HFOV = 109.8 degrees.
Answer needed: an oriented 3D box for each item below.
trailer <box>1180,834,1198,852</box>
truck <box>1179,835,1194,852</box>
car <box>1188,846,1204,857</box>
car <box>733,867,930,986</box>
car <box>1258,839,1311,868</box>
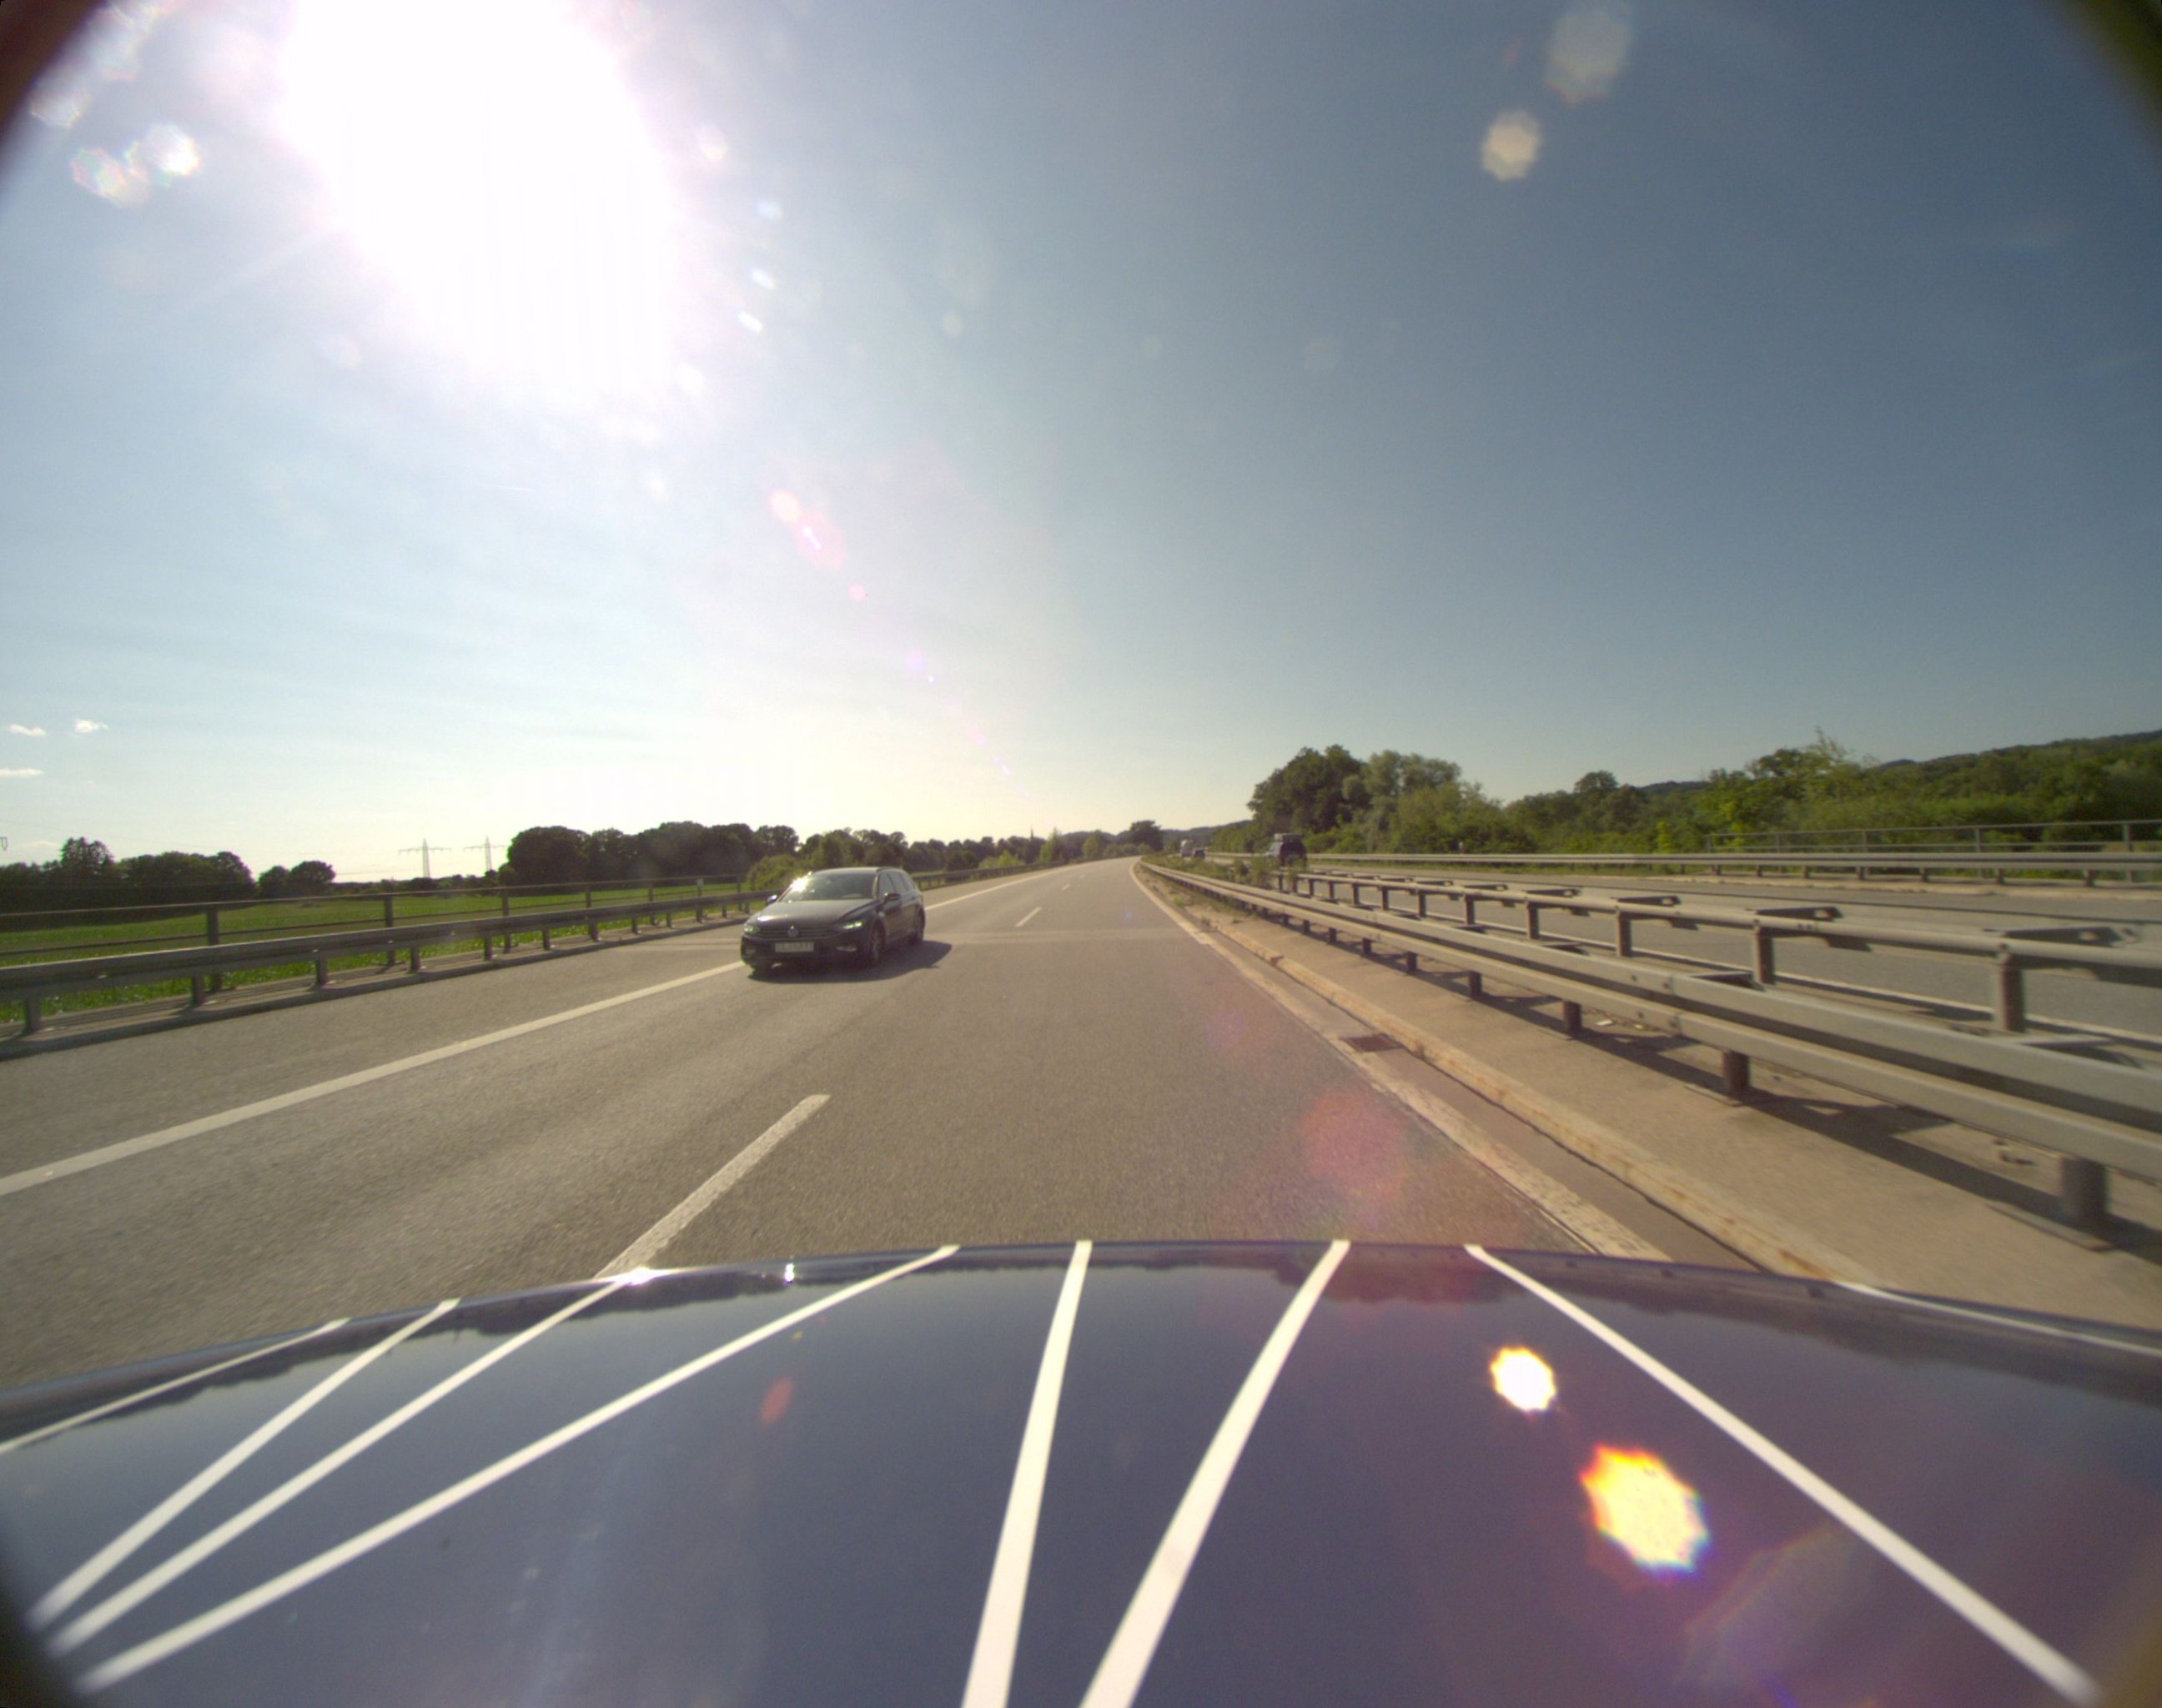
[{"bbox_3d":[22.792,-2.302,161.009,2.747,3.705,10.915,-2,0,4],"label":"trailer"},{"bbox_3d":[23.212,-2.317,166.989,2.747,3.705,5.973,-2,1,4],"label":"truck"},{"bbox_3d":[17.824,-0.401,117.689,1.998,1.545,4.420,-1,0,3],"label":"car"},{"bbox_3d":[-3.779,1.013,12.391,1.723,1.392,4.412,-2,1,0],"label":"car"},{"bbox_3d":[12.684,-0.035,47.619,1.998,1.669,5.317,-1,0,2],"label":"car"}]
